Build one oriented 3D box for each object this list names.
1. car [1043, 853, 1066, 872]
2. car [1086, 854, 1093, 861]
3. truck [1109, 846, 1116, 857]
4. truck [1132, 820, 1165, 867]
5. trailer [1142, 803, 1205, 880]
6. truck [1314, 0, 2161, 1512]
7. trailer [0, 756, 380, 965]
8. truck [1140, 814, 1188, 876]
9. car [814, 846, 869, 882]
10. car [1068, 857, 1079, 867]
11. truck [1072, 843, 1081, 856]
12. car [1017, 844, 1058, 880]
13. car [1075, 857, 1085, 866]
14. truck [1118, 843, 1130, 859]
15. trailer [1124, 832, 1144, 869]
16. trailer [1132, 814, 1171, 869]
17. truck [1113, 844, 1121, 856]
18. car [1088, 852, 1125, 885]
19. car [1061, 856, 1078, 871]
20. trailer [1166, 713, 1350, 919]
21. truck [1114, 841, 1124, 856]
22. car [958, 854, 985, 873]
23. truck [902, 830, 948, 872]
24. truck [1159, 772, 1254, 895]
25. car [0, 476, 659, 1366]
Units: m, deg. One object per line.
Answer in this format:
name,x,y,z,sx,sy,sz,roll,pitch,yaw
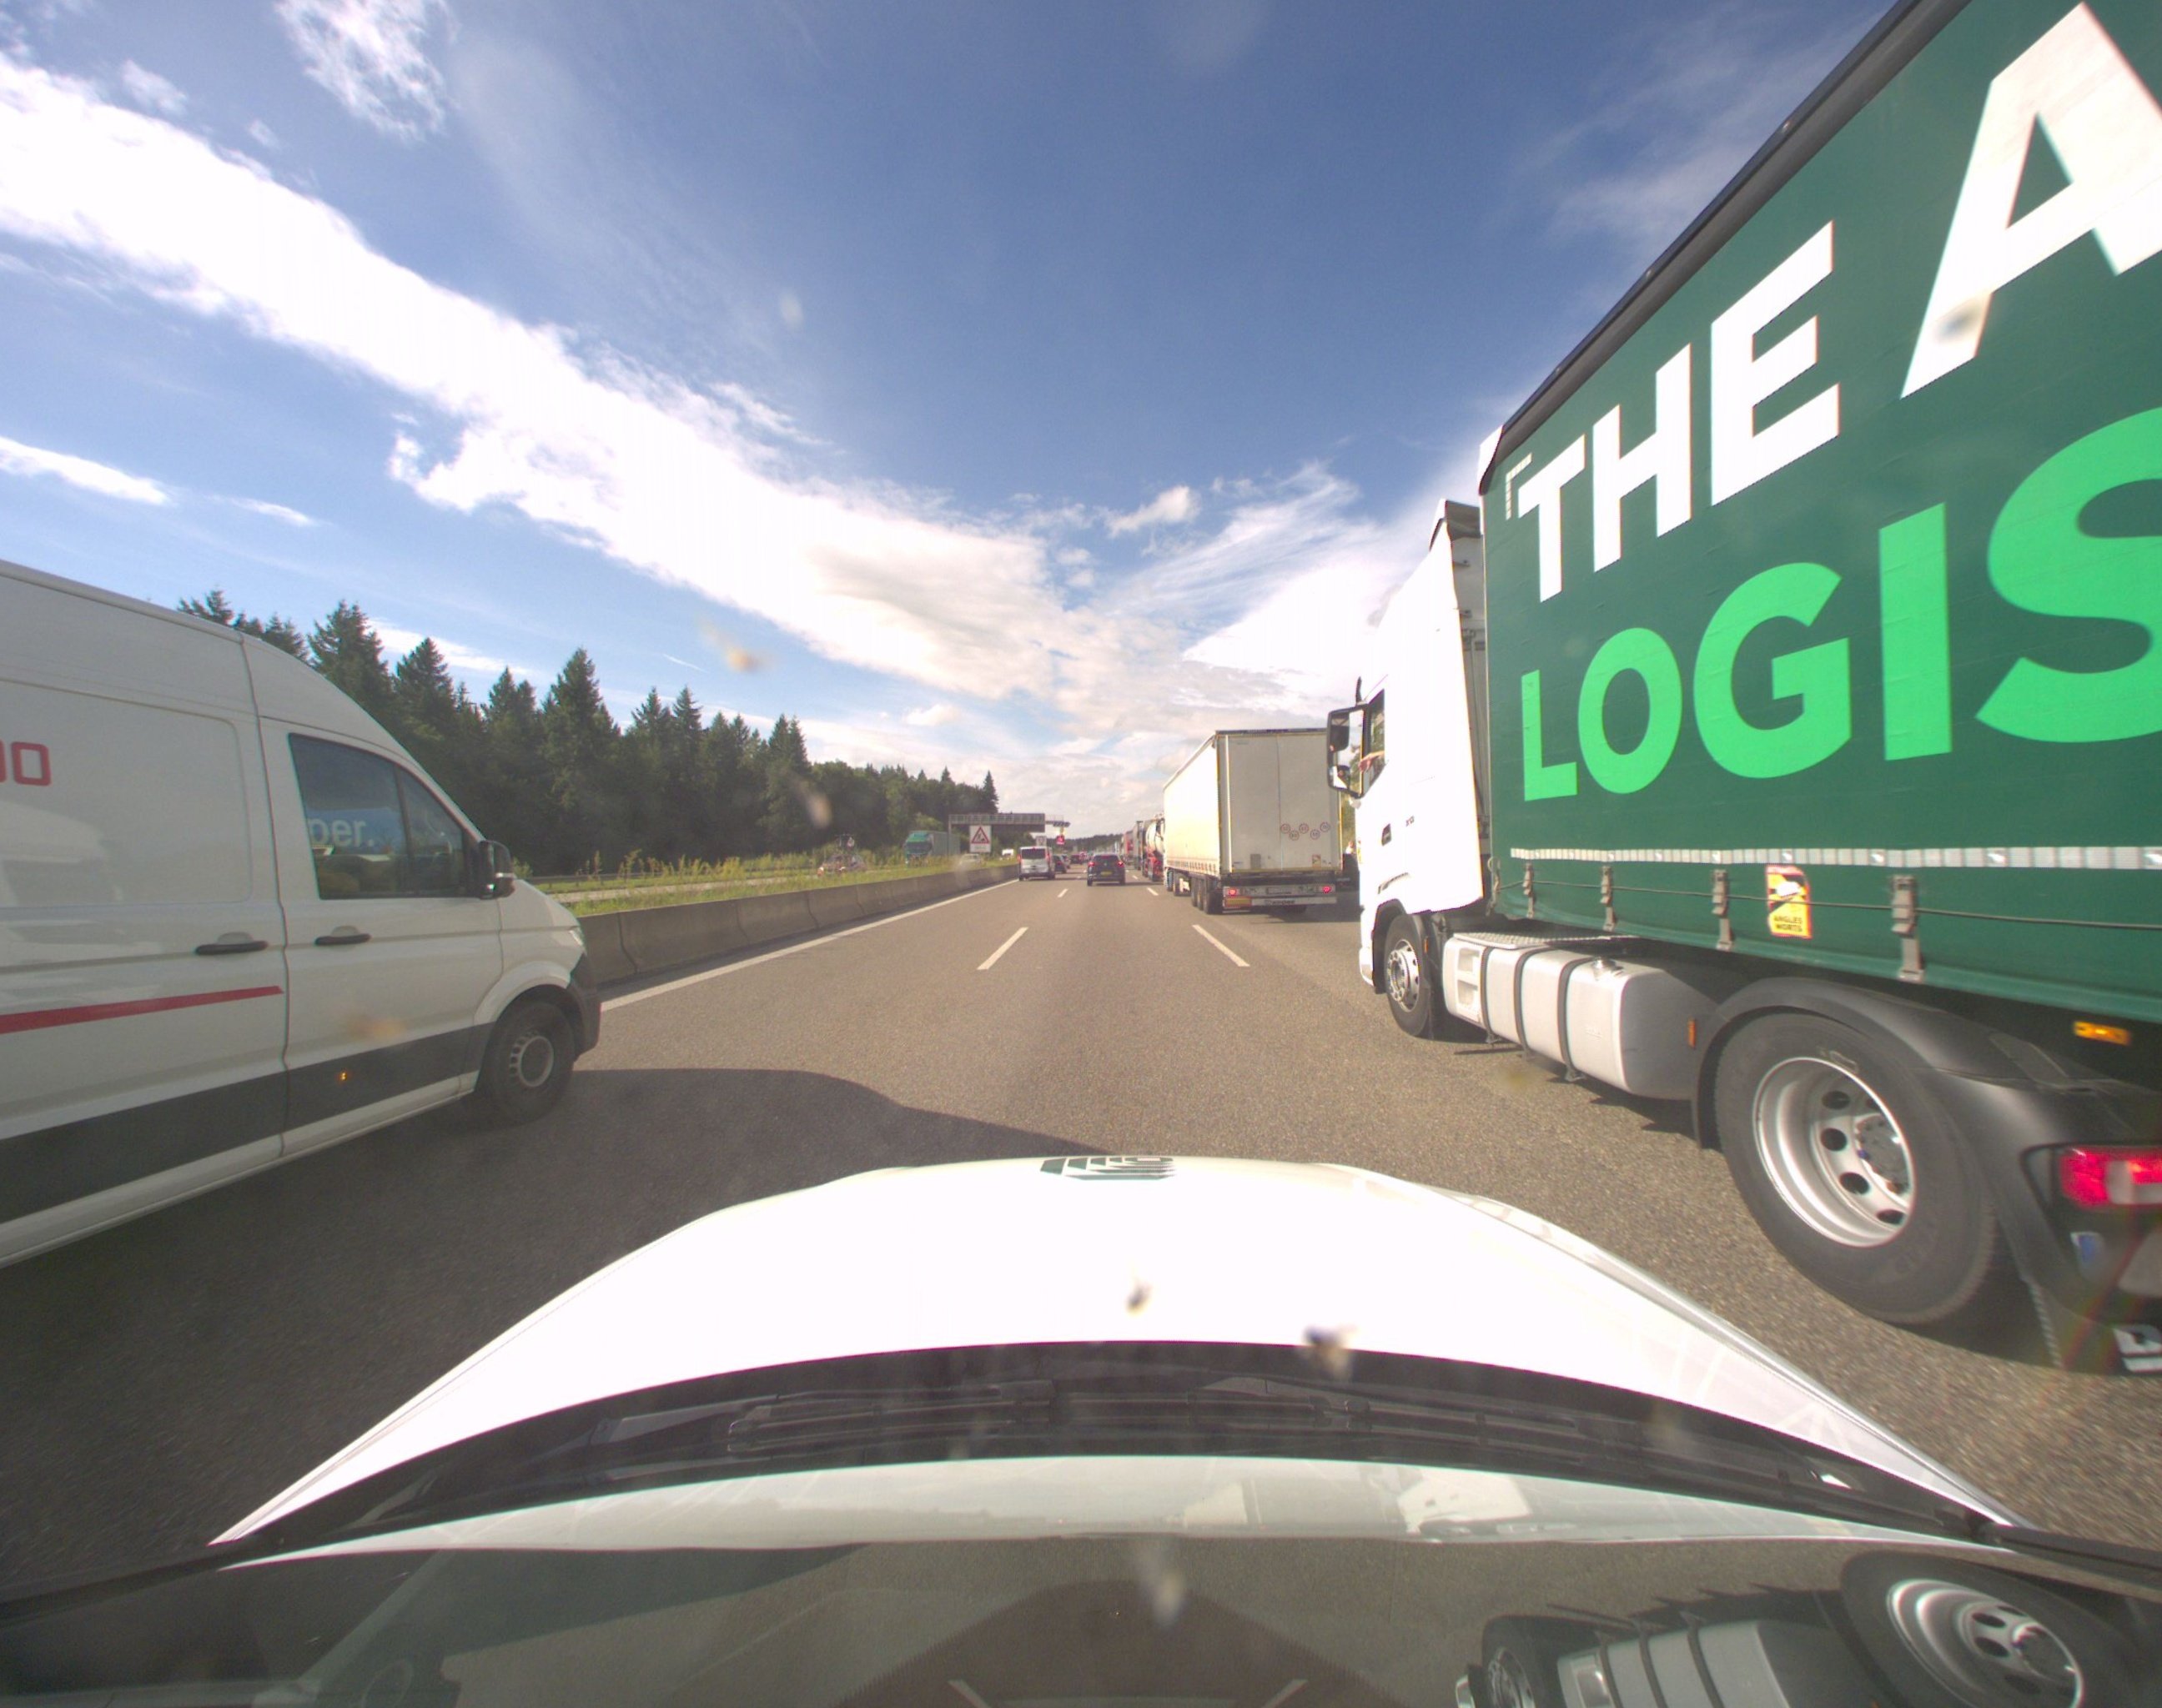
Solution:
car,-1.998,0.626,62.300,1.494,1.396,3.477,-1,0,2
car,1.623,0.764,157.584,1.356,1.301,3.085,2,0,2
truck,9.522,-0.782,244.590,1.986,3.052,4.984,2,0,2
truck,6.309,-0.919,77.195,2.774,4.247,6.464,-1,-1,3
trailer,4.827,-0.551,44.346,2.531,3.654,10.631,-1,0,2
truck,3.725,-0.526,5.221,2.637,3.869,6.999,-1,0,2
trailer,-18.110,0.121,14.130,2.313,3.284,10.877,-1,0,1
truck,5.076,-0.497,50.821,2.524,3.584,6.732,-1,0,2
car,-13.751,0.568,46.991,1.753,1.882,4.002,2,0,2
car,-1.010,1.039,110.413,1.429,1.310,3.534,2,0,1
truck,-1.319,-1.388,237.263,2.335,3.594,6.308,2,0,2
car,-2.546,0.473,48.930,1.925,1.979,5.100,2,0,2
car,-0.135,1.136,126.543,1.429,1.310,3.534,2,0,1
truck,7.760,-0.506,147.556,1.986,2.932,4.984,2,0,2
trailer,6.325,-0.389,97.580,2.141,4.259,8.445,-1,0,2
trailer,5.969,-0.962,70.292,2.791,4.244,11.063,-1,0,3
truck,9.692,-1.165,217.713,1.986,3.052,4.984,2,0,2
car,1.244,0.658,39.328,1.690,1.483,4.161,0,0,2
car,-1.131,0.917,81.487,1.494,1.396,3.477,2,0,2
trailer,4.249,-0.777,22.943,2.692,4.082,12.950,-2,0,2
truck,8.112,-1.189,173.643,1.986,3.052,4.984,2,0,2
car,-9.767,0.816,72.981,1.664,1.624,3.768,2,0,2
truck,-16.770,-0.259,88.425,2.701,4.244,10.346,-1,0,1
truck,4.503,-0.664,30.447,2.698,4.060,6.364,-1,0,2
car,-4.155,0.204,2.789,2.008,2.599,6.184,-1,0,1
